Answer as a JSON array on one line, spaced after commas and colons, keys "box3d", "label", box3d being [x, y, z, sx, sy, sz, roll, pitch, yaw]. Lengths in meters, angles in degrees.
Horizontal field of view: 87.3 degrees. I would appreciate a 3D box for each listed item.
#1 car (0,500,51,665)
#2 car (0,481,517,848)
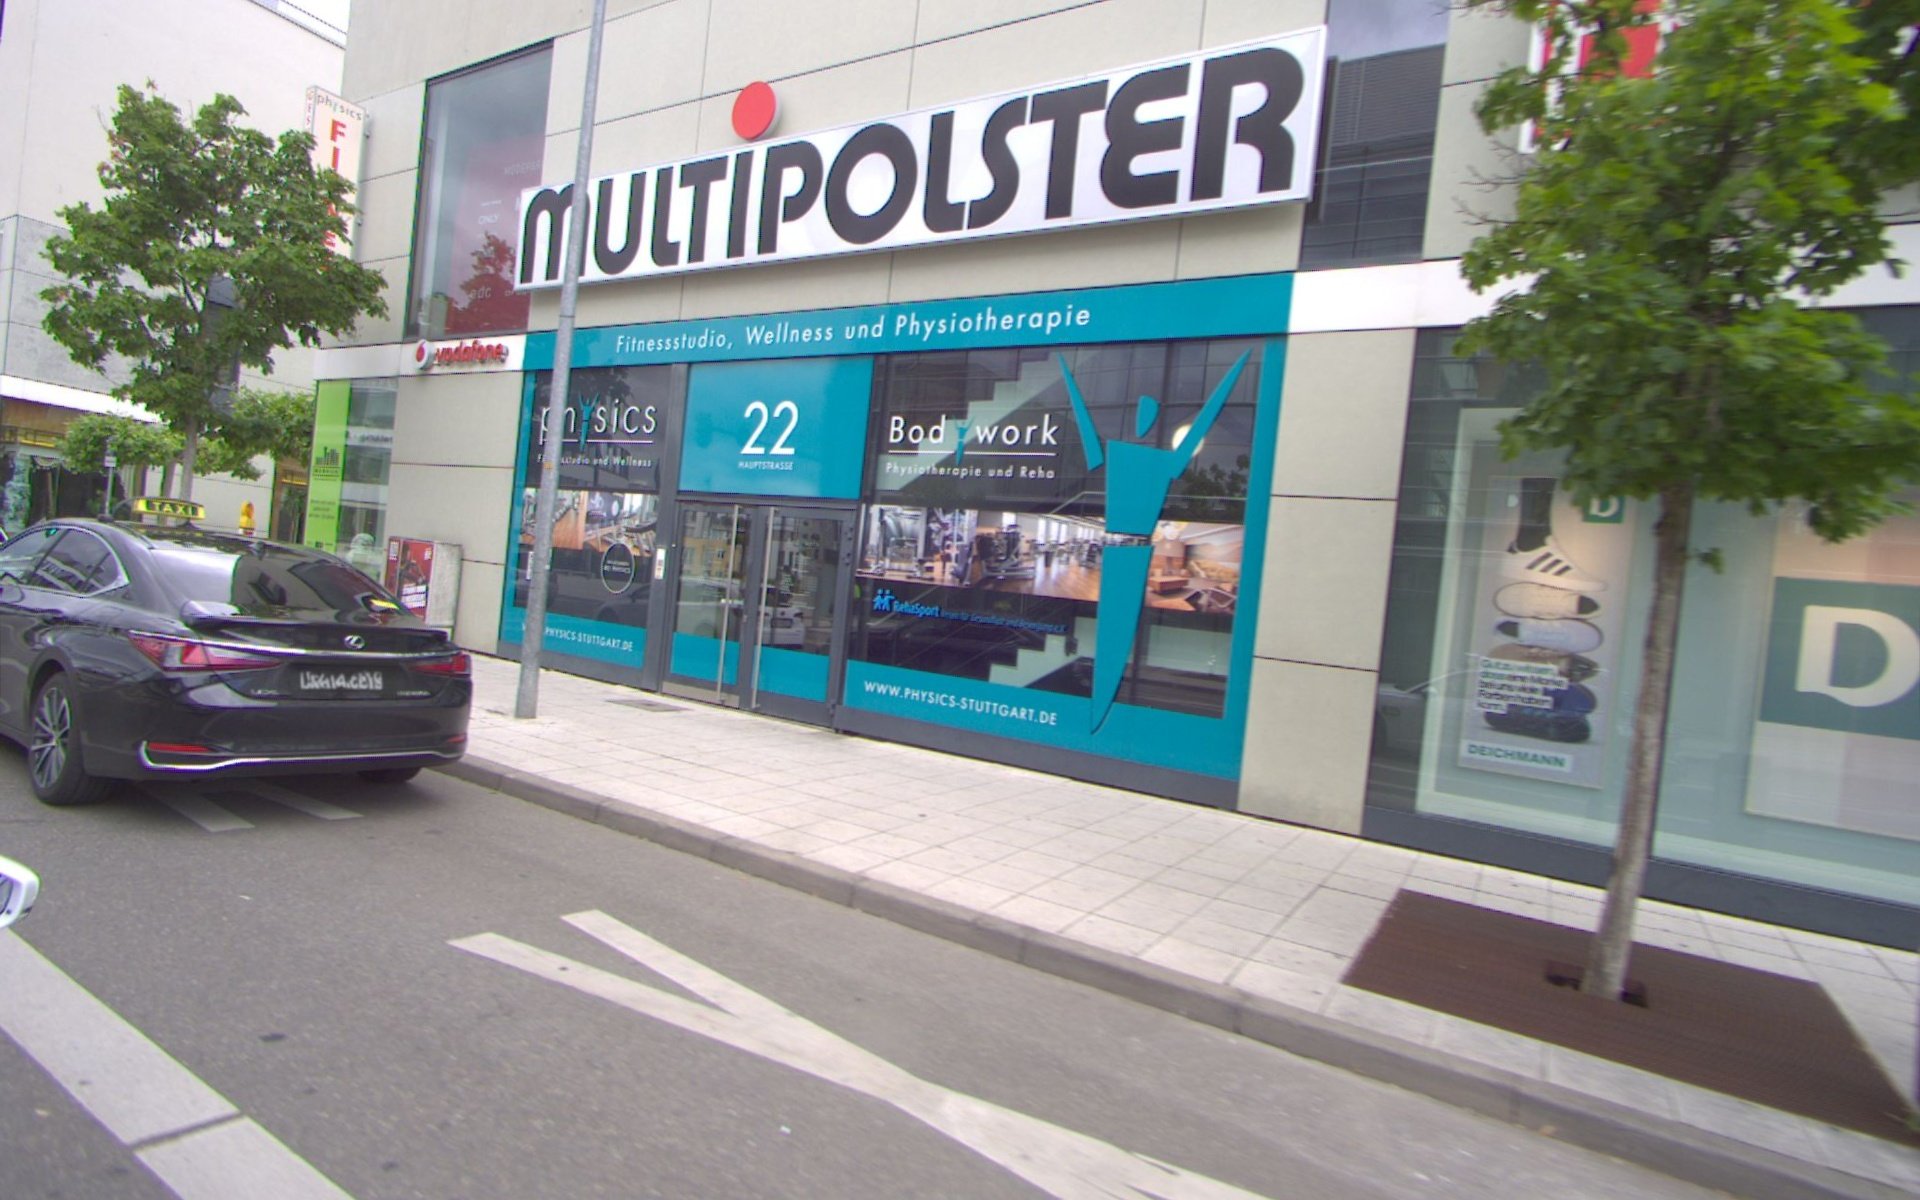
[{"box3d": [-10.596, -0.405, 9.428, 4.439, 1.443, 1.785, 6, -1, 31], "label": "car"}, {"box3d": [-5.133, 0.181, 6.410, 4.711, 1.560, 1.739, 6, -1, 32], "label": "car"}]
